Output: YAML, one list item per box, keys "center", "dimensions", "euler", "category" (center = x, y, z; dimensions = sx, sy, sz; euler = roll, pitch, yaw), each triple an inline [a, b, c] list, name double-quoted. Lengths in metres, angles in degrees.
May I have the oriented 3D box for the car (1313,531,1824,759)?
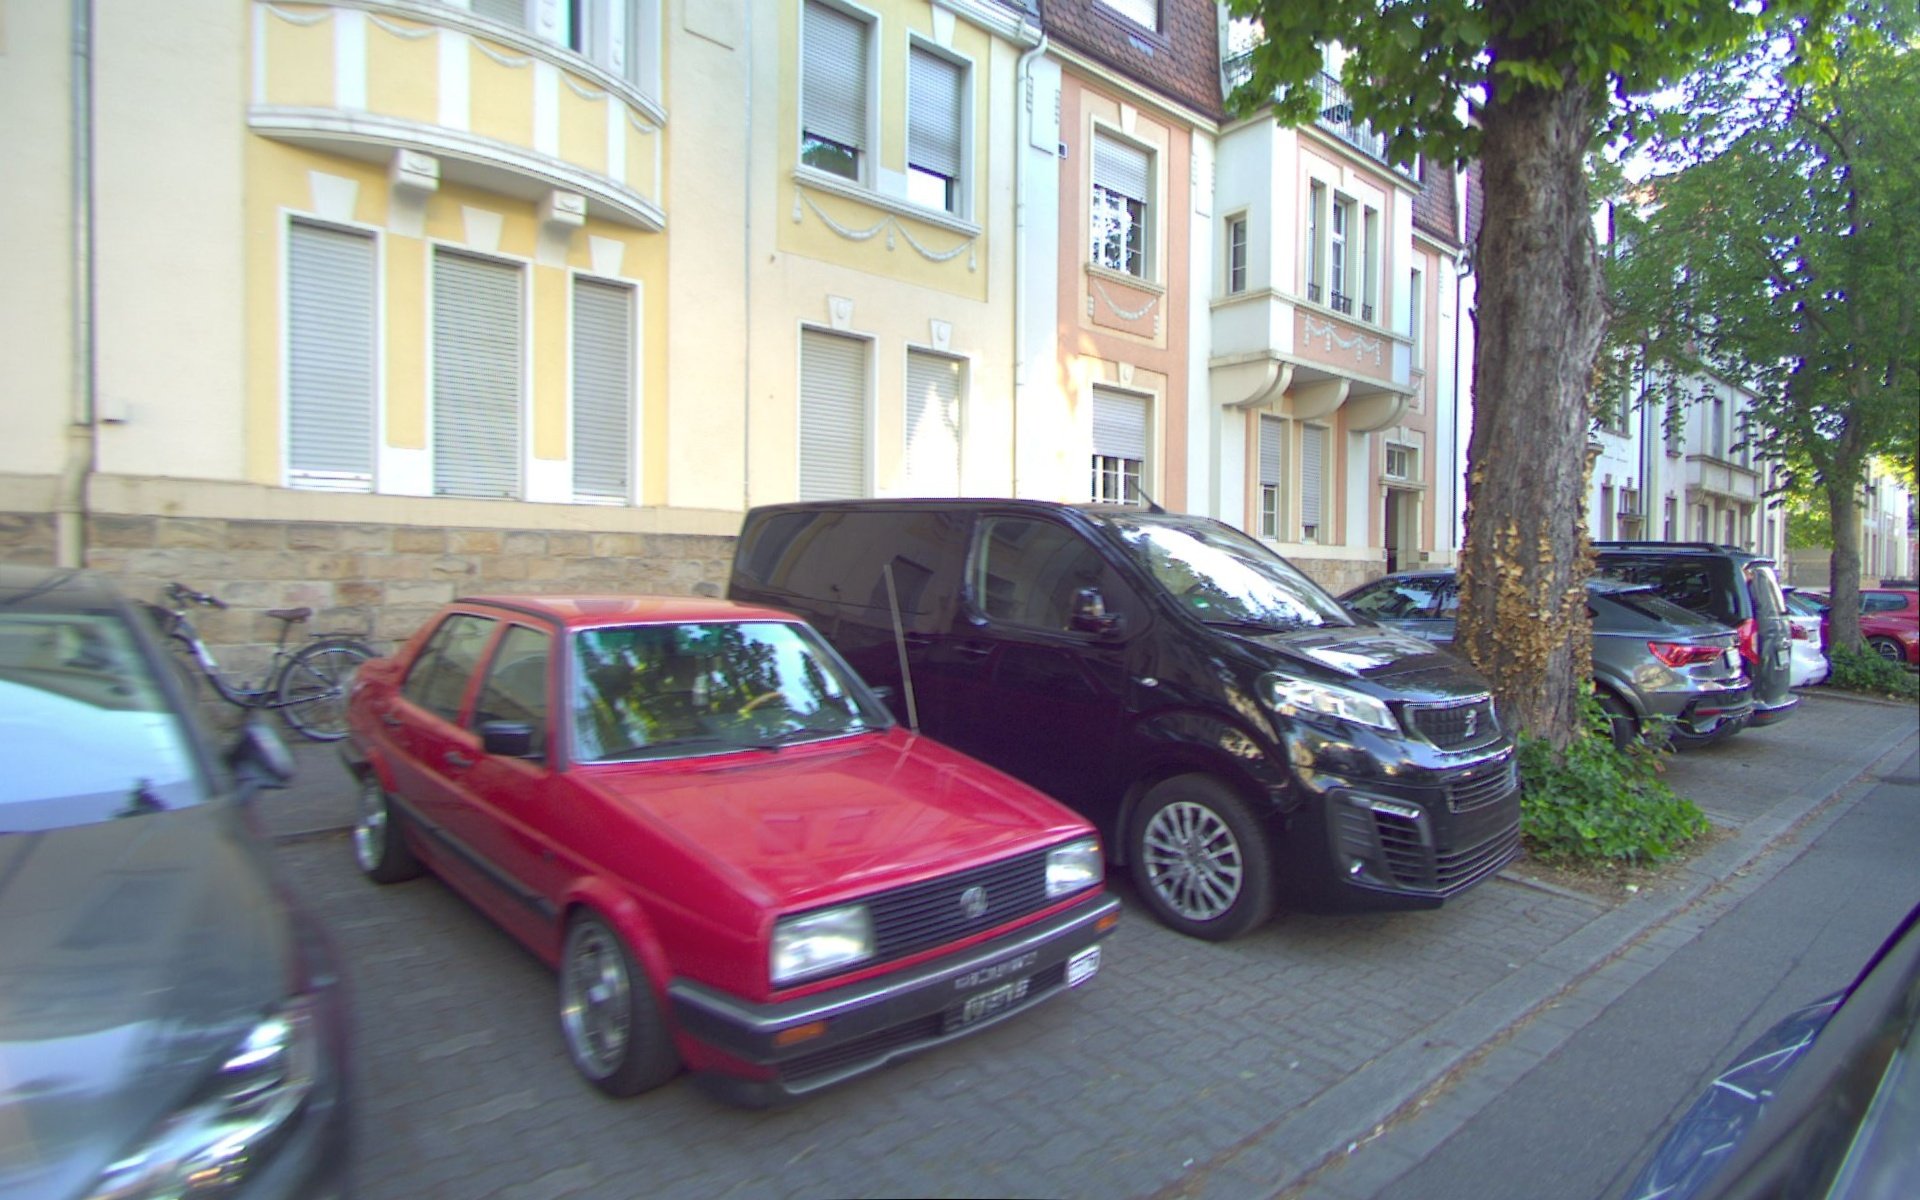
- center: [5.966, 0.252, 10.338]
  dimensions: [1.569, 1.849, 4.166]
  euler: [-1, 4, -44]
  category: "car"

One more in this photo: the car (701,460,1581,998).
- center: [0.554, 0.296, 5.846]
  dimensions: [1.851, 1.846, 4.827]
  euler: [-2, 4, -44]
  category: "car"

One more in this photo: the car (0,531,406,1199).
- center: [-2.778, 0.553, 2.496]
  dimensions: [1.601, 1.439, 4.056]
  euler: [-1, 4, -42]
  category: "car"

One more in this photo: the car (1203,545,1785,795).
- center: [4.359, 0.368, 8.794]
  dimensions: [1.569, 1.611, 4.166]
  euler: [-2, 4, -44]
  category: "car"

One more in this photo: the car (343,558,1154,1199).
- center: [-1.260, 0.546, 4.203]
  dimensions: [1.532, 1.336, 3.918]
  euler: [-1, 4, -42]
  category: "car"

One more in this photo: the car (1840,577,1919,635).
- center: [27.719, 0.179, 28.939]
  dimensions: [1.510, 1.583, 3.622]
  euler: [0, 3, -40]
  category: "car"

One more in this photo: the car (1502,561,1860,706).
- center: [9.435, 0.329, 13.444]
  dimensions: [1.512, 1.569, 3.617]
  euler: [-1, 3, -44]
  category: "car"

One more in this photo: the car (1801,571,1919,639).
- center: [23.399, 0.118, 25.127]
  dimensions: [1.510, 1.583, 3.622]
  euler: [0, 3, -40]
  category: "car"

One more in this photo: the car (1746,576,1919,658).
- center: [18.587, 0.318, 20.765]
  dimensions: [1.510, 1.482, 3.622]
  euler: [0, 3, -40]
  category: "car"

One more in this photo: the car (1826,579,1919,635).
- center: [25.781, 0.199, 27.167]
  dimensions: [1.510, 1.420, 3.622]
  euler: [0, 3, -40]
  category: "car"

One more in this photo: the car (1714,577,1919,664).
- center: [16.680, 0.341, 19.122]
  dimensions: [1.510, 1.420, 3.622]
  euler: [0, 3, -40]
  category: "car"
